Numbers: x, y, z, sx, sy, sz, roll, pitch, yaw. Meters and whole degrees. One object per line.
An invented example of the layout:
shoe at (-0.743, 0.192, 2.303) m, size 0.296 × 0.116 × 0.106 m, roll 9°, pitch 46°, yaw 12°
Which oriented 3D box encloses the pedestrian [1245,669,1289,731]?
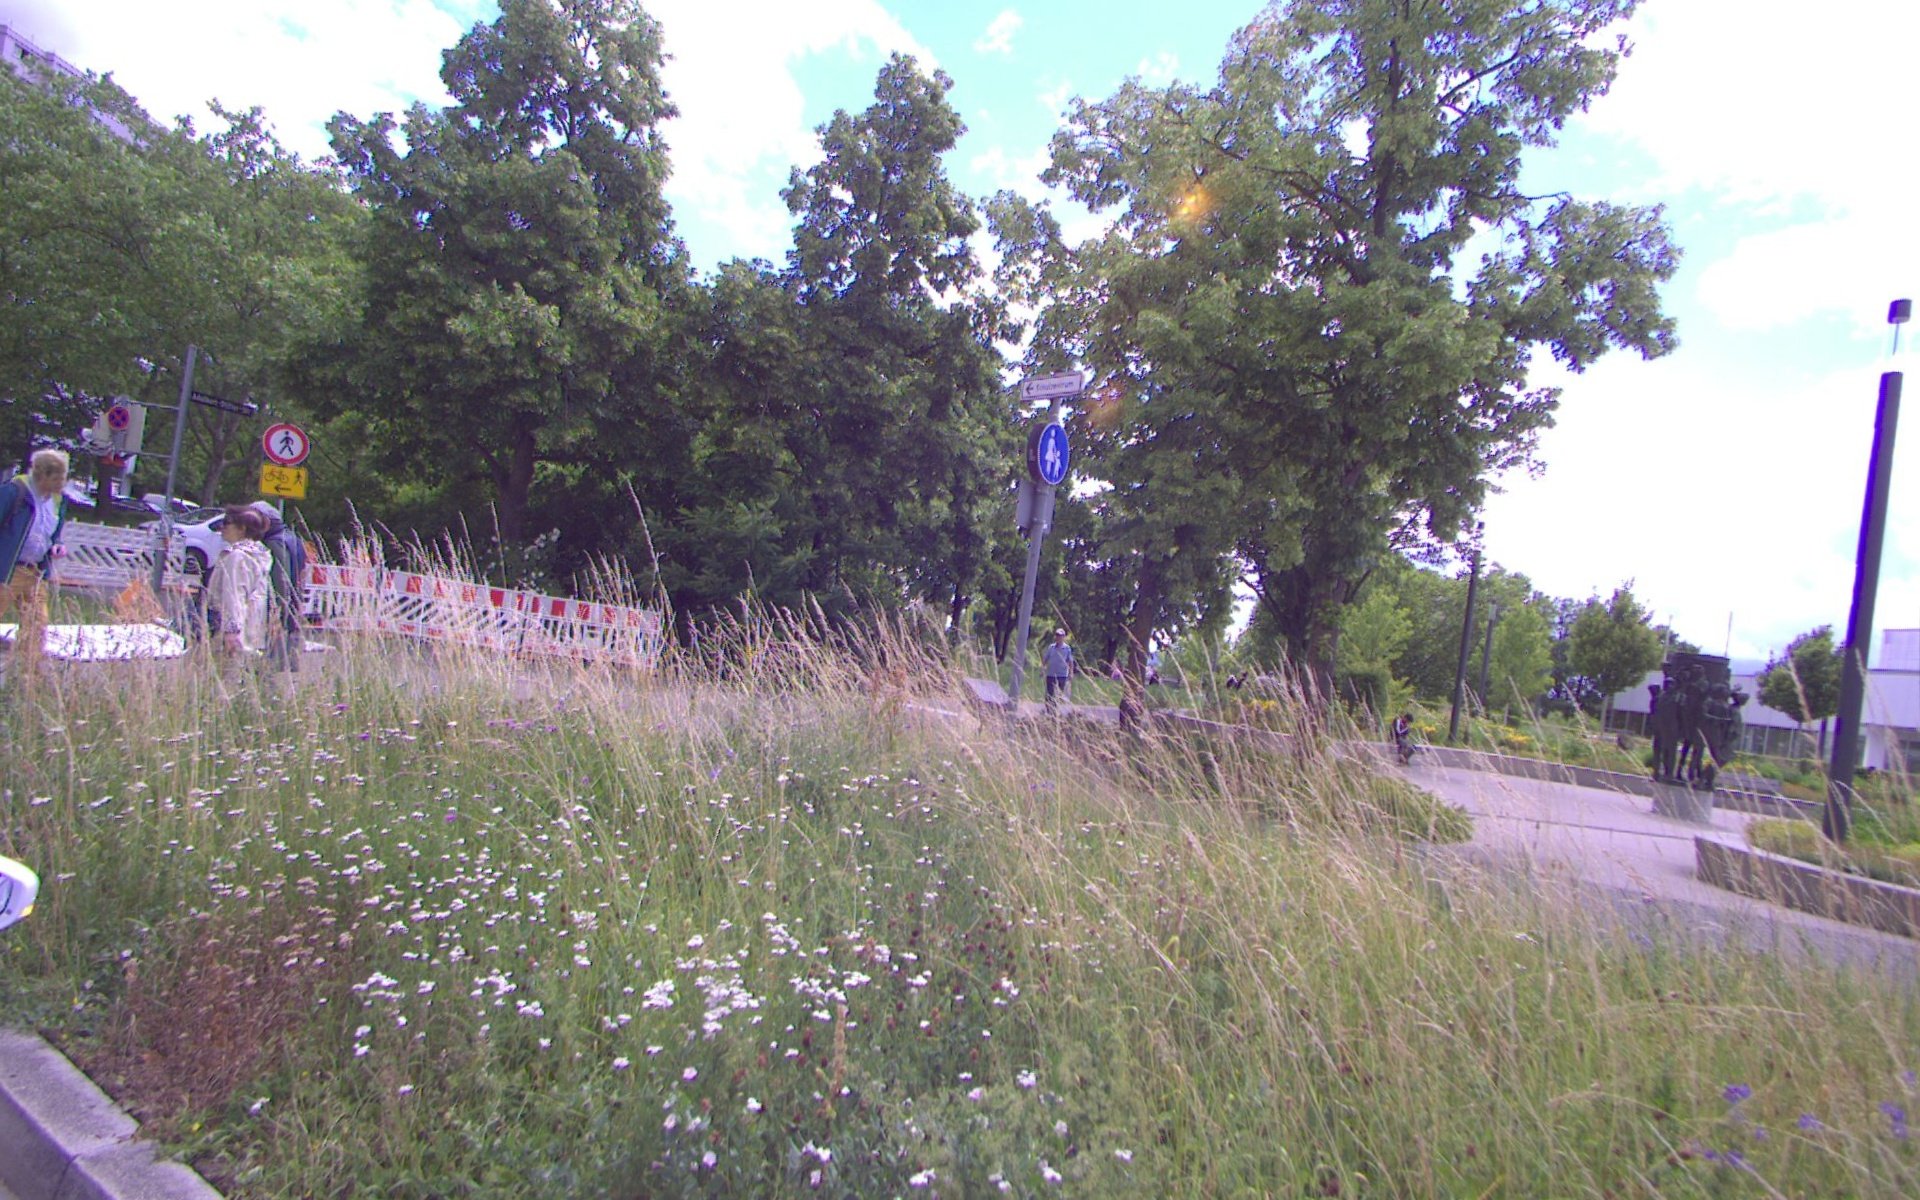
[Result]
pedestrian at (11.028, 3.574, 36.117) m, size 1.137 × 2.037 × 0.817 m, roll 8°, pitch 0°, yaw 30°

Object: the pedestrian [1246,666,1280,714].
pedestrian at (11.775, 3.499, 39.121) m, size 0.879 × 1.733 × 0.817 m, roll 8°, pitch 0°, yaw 30°

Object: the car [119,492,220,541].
car at (-44.719, -4.710, 56.960) m, size 3.926 × 2.037 × 2.001 m, roll 8°, pitch -1°, yaw 0°

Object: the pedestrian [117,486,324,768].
pedestrian at (-4.758, 0.178, 6.543) m, size 0.816 × 1.659 × 0.728 m, roll 8°, pitch 0°, yaw -29°

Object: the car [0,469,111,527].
car at (-44.162, -4.945, 48.841) m, size 3.926 × 2.037 × 2.001 m, roll 8°, pitch -1°, yaw 0°

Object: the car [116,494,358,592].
car at (-20.162, -1.521, 28.356) m, size 1.915 × 1.895 × 5.090 m, roll 7°, pitch -2°, yaw 28°

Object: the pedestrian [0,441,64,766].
pedestrian at (-5.437, -0.033, 5.345) m, size 0.819 × 1.690 × 0.725 m, roll 8°, pitch 0°, yaw -41°

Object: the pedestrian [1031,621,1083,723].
pedestrian at (1.898, 1.399, 19.649) m, size 0.757 × 1.862 × 0.765 m, roll 7°, pitch -1°, yaw 6°

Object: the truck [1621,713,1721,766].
truck at (36.850, 7.206, 52.305) m, size 1.965 × 2.037 × 3.999 m, roll 8°, pitch -1°, yaw -4°

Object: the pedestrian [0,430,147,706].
pedestrian at (-6.667, -0.253, 7.113) m, size 0.999 × 1.795 × 0.944 m, roll 8°, pitch 0°, yaw -22°

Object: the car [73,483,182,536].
car at (-44.261, -4.777, 53.557) m, size 3.926 × 2.037 × 2.001 m, roll 8°, pitch -1°, yaw 0°

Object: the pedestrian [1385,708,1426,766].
pedestrian at (10.388, 3.182, 23.460) m, size 0.623 × 1.236 × 0.618 m, roll 7°, pitch -1°, yaw 36°

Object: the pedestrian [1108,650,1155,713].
pedestrian at (4.890, 2.324, 28.665) m, size 0.879 × 1.647 × 0.817 m, roll 8°, pitch 0°, yaw 30°

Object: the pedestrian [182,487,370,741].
pedestrian at (-4.905, 0.106, 7.290) m, size 0.861 × 1.654 × 0.760 m, roll 8°, pitch 0°, yaw -28°

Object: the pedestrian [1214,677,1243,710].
pedestrian at (14.274, 4.974, 53.470) m, size 1.135 × 1.572 × 0.818 m, roll 8°, pitch -1°, yaw -2°

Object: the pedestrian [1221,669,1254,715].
pedestrian at (10.971, 3.629, 39.818) m, size 0.872 × 1.681 × 0.817 m, roll 8°, pitch 0°, yaw 30°
